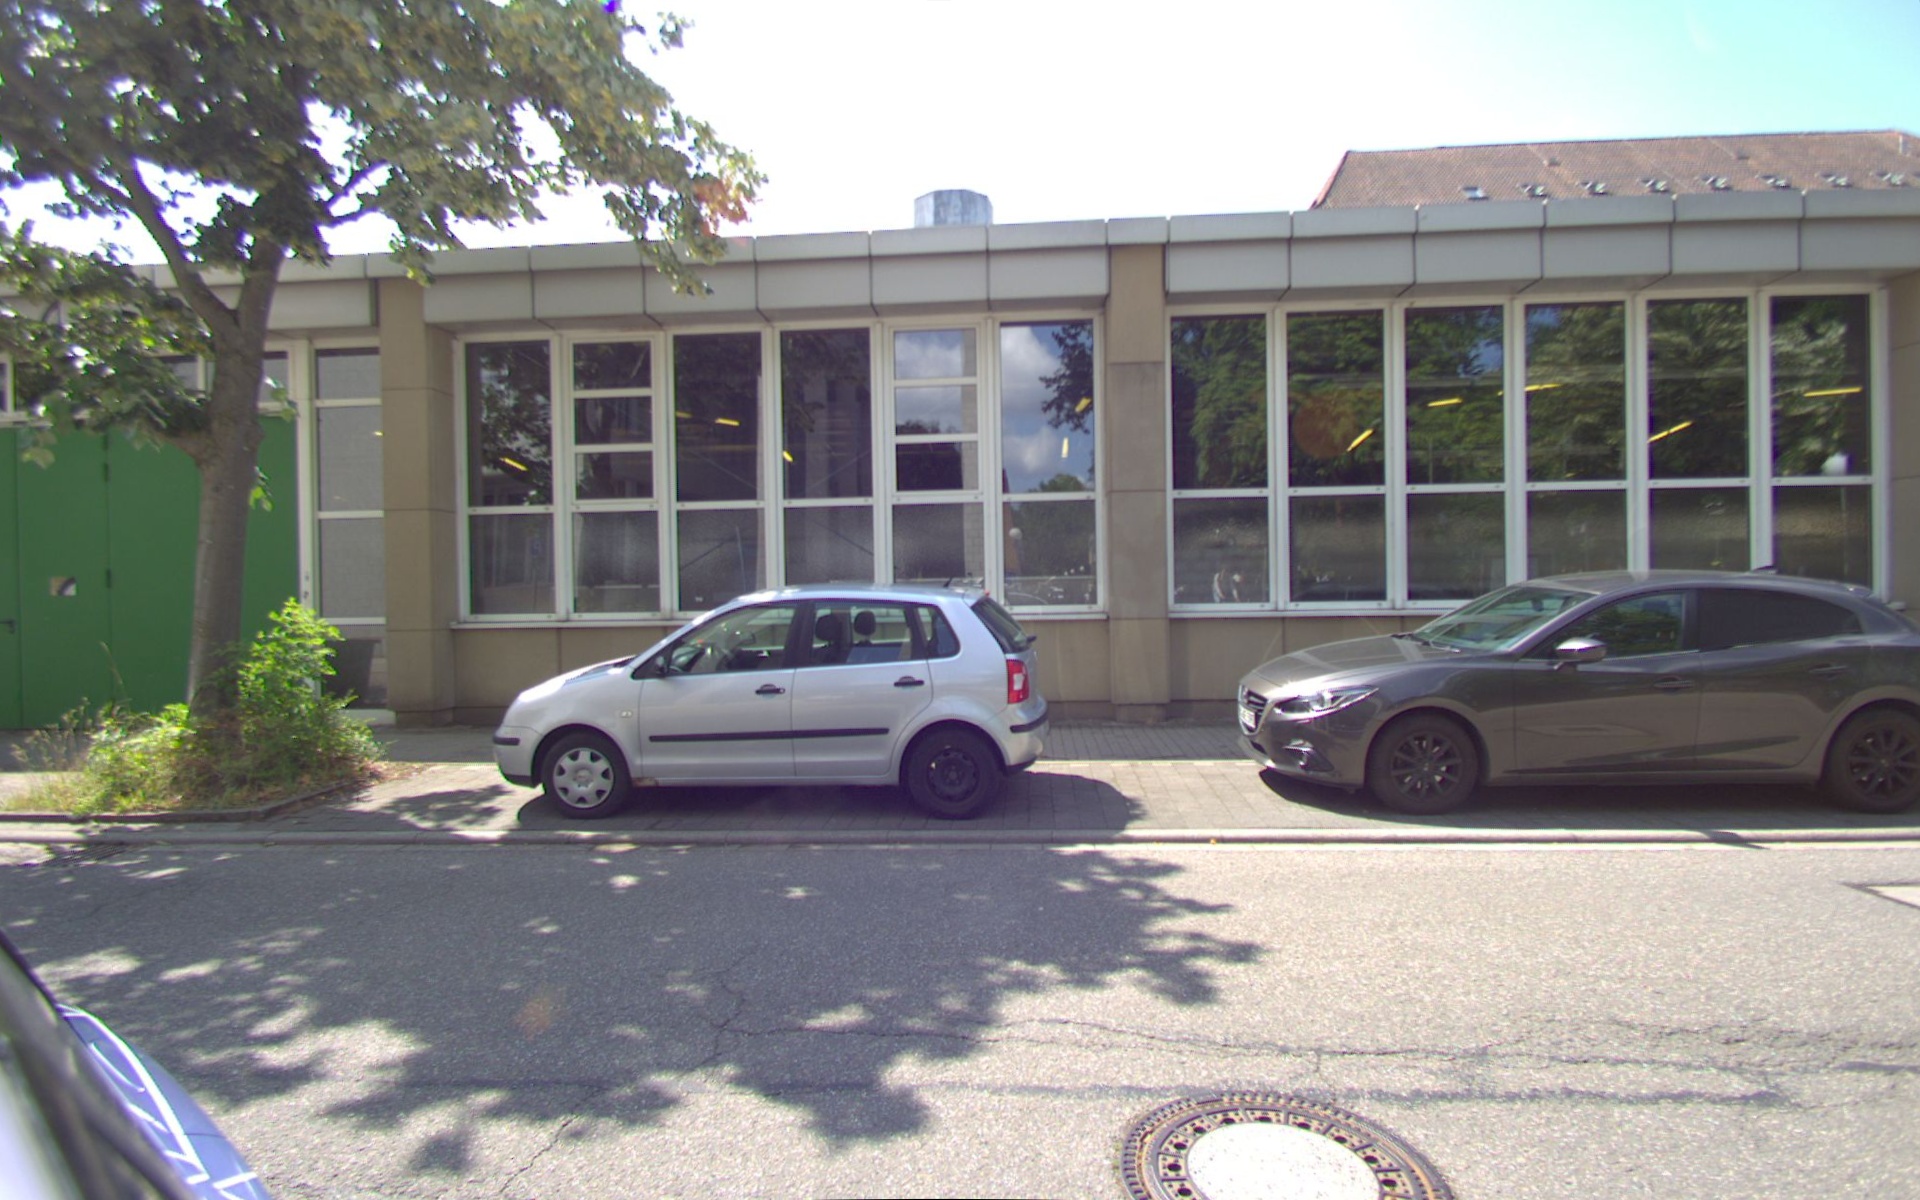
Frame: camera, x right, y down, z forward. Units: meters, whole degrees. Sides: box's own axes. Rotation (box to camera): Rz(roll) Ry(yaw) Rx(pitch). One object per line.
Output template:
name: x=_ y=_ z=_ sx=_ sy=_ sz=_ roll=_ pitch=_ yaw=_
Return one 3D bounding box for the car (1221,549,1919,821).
car: x=4.038 y=0.486 z=6.744 sx=4.157 sy=1.487 sz=1.652 roll=-2 pitch=2 yaw=4

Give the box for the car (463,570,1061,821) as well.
car: x=-1.213 y=0.588 z=7.092 sx=3.731 sy=1.487 sz=1.651 roll=-1 pitch=2 yaw=5
